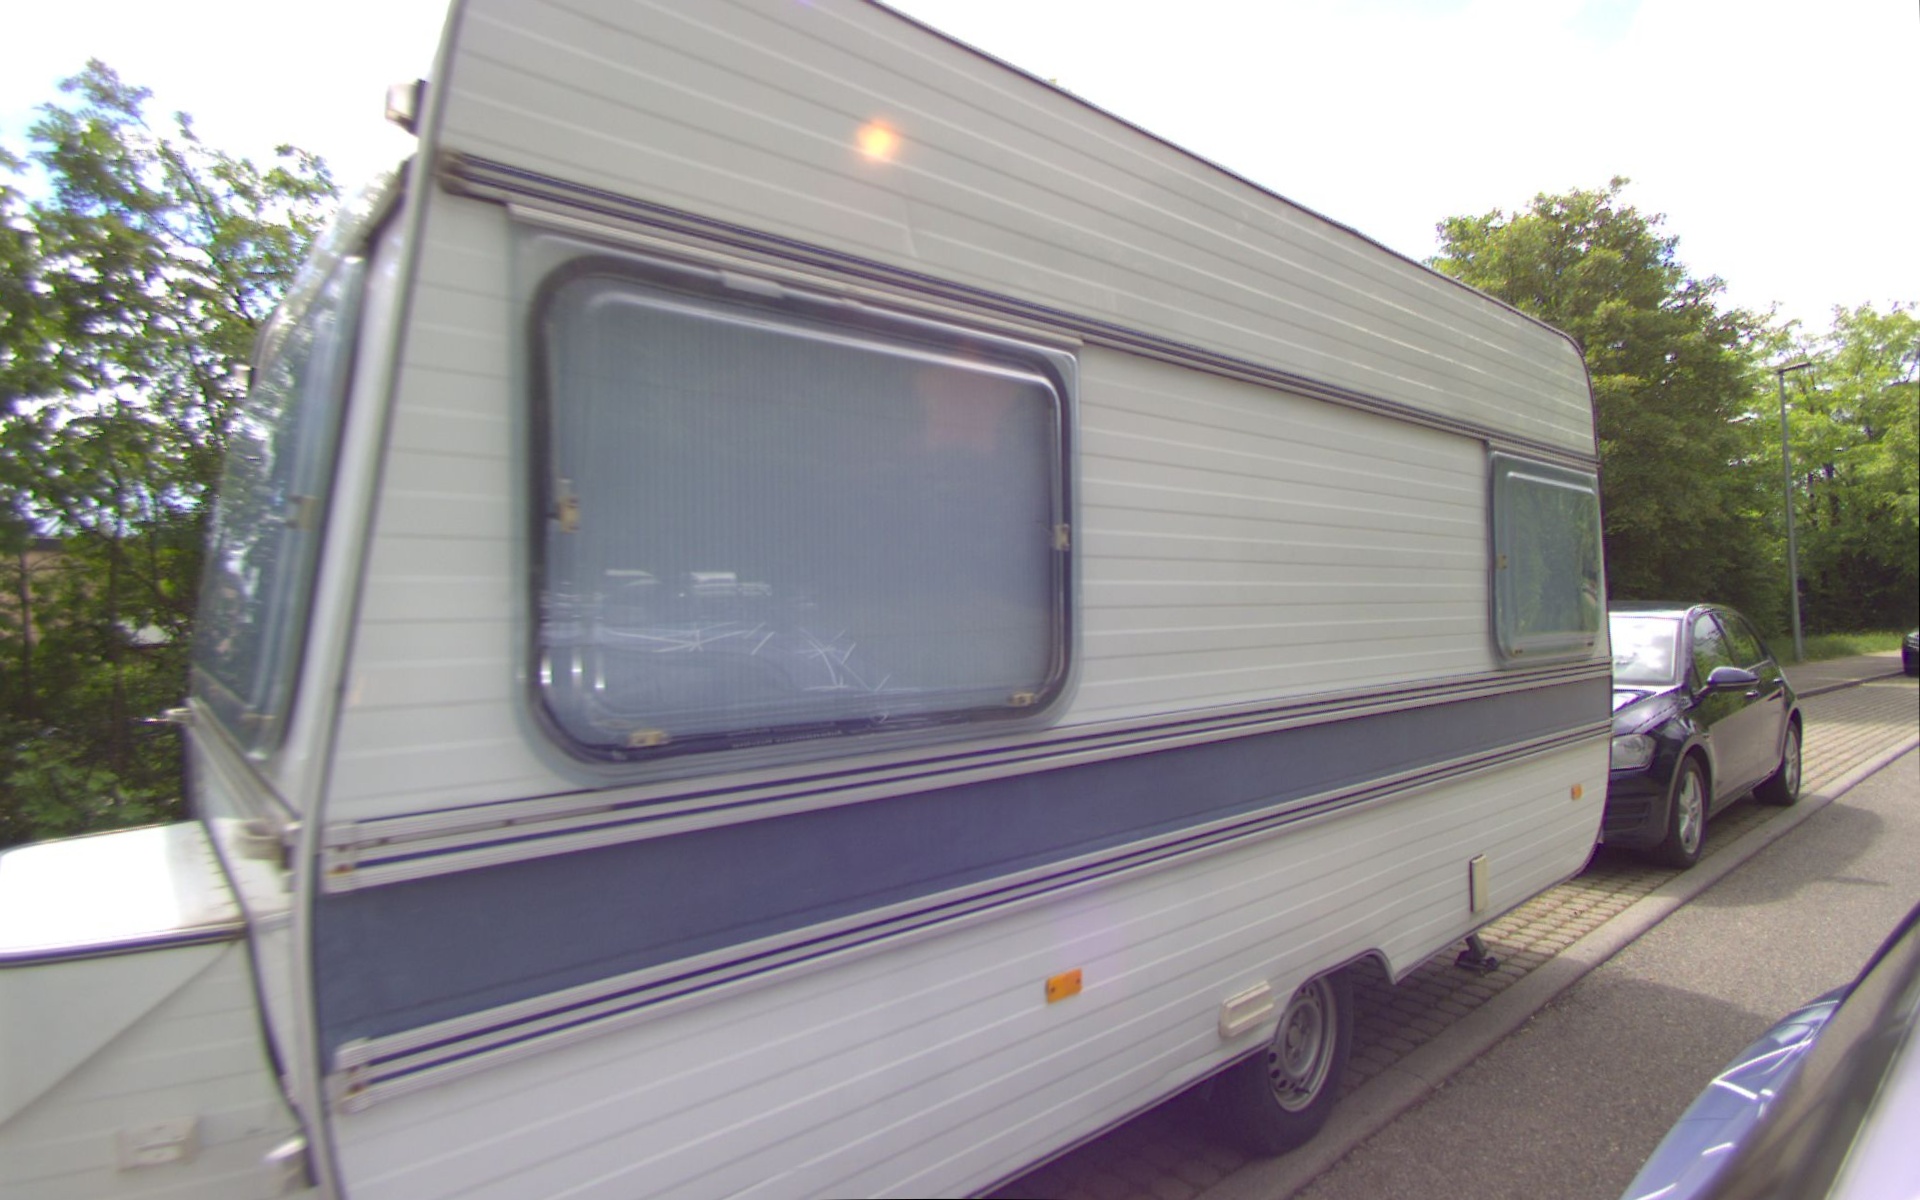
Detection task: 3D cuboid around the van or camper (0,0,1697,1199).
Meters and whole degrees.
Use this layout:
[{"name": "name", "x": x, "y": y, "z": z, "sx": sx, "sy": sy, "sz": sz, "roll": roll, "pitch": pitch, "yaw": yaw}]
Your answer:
[{"name": "van or camper", "x": 0.296, "y": 0.128, "z": 3.267, "sx": 4.987, "sy": 2.586, "sz": 2.358, "roll": -1, "pitch": 0, "yaw": -42}]

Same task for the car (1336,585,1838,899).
[{"name": "car", "x": 4.448, "y": 0.656, "z": 6.850, "sx": 4.403, "sy": 1.469, "sz": 1.684, "roll": -1, "pitch": -1, "yaw": -42}]

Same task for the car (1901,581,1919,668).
[{"name": "car", "x": 19.273, "y": 0.416, "z": 18.588, "sx": 4.458, "sy": 1.549, "sz": 1.899, "roll": 0, "pitch": -1, "yaw": -34}]
